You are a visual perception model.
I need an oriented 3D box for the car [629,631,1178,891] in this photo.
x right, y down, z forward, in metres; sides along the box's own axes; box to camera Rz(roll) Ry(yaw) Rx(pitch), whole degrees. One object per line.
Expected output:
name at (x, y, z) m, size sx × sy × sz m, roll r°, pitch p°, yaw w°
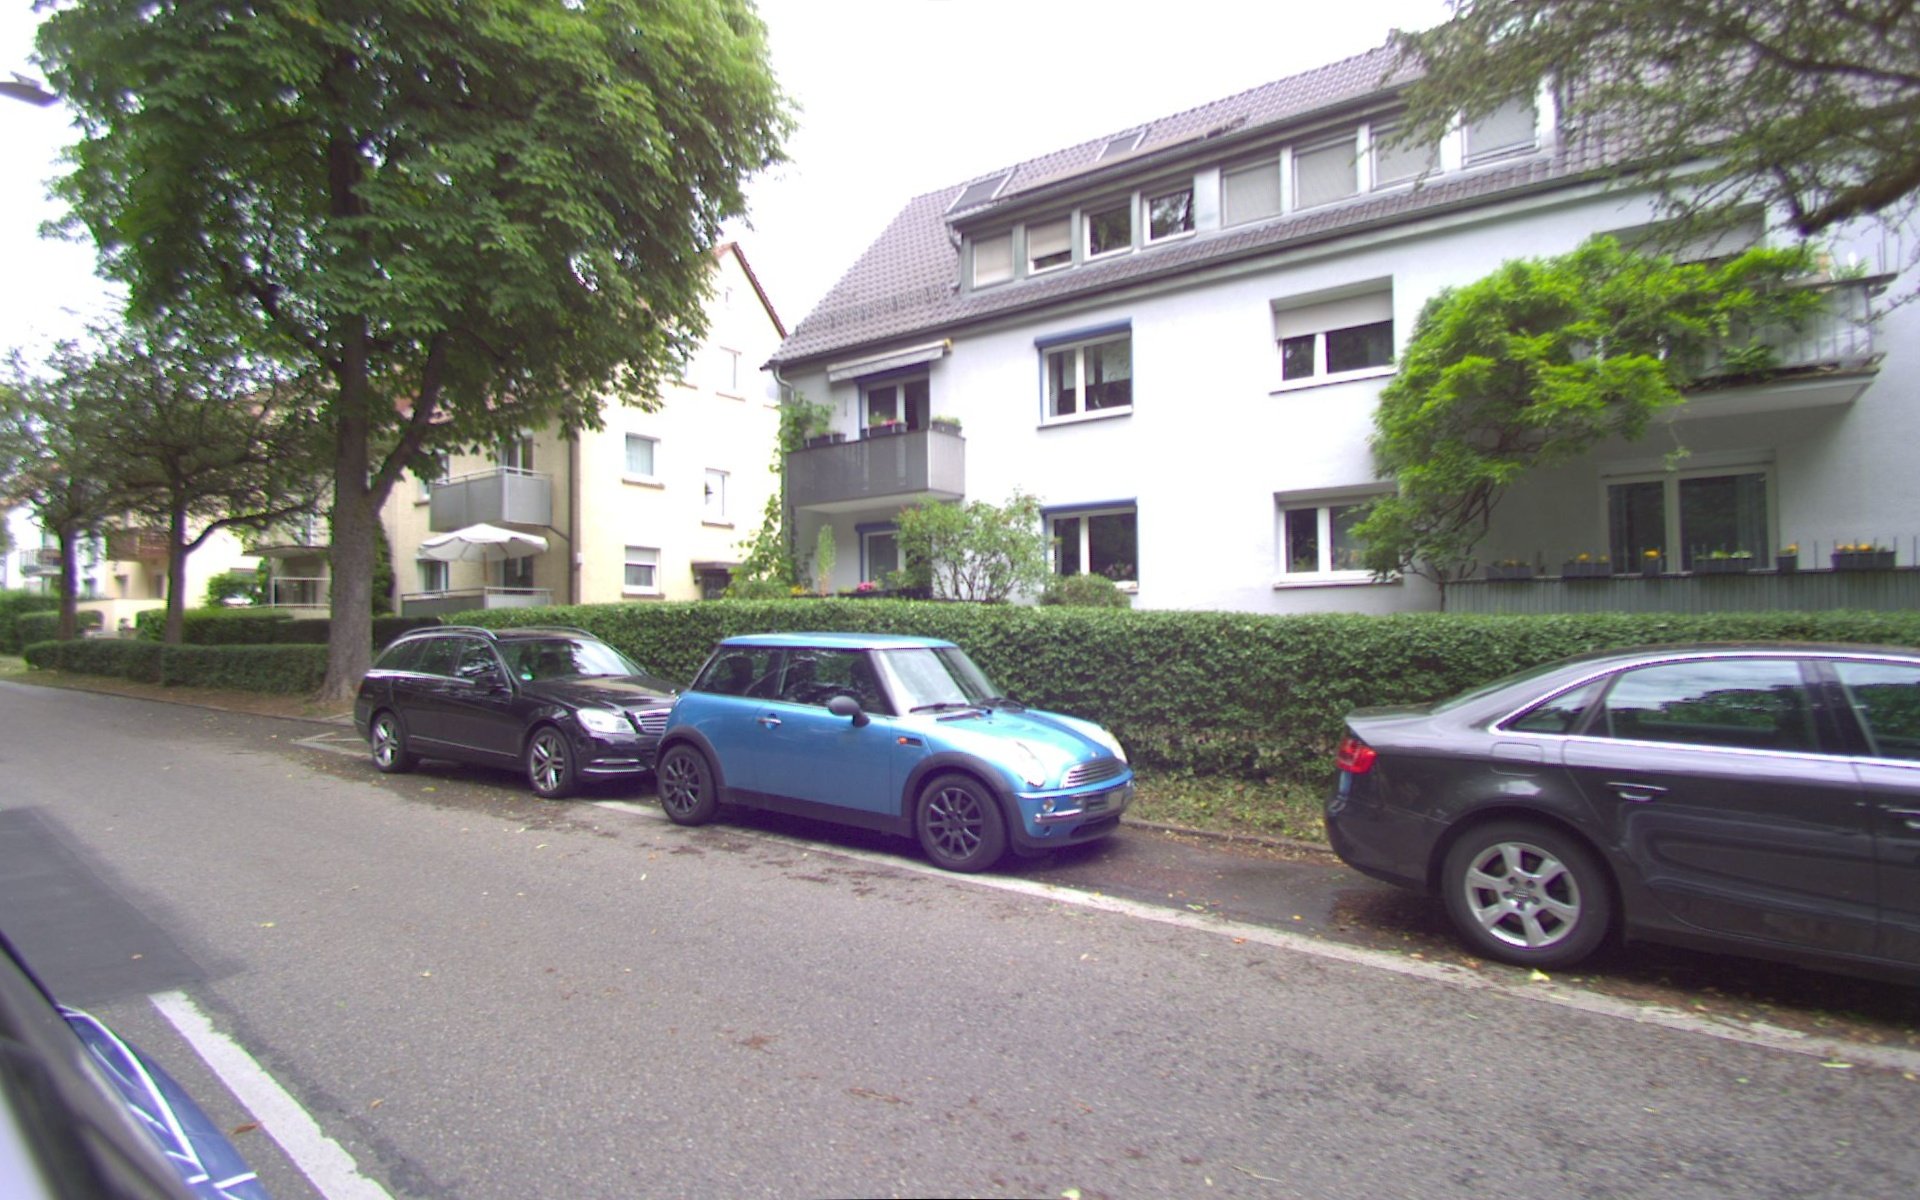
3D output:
car at (-0.496, 0.941, 7.247) m, size 3.697 × 1.402 × 1.650 m, roll -1°, pitch -3°, yaw 35°

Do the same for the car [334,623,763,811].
car at (-4.160, 0.998, 9.983) m, size 4.407 × 1.483 × 1.779 m, roll -1°, pitch -3°, yaw 34°

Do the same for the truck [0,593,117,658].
truck at (-46.339, 1.298, 50.768) m, size 2.511 × 3.155 × 5.749 m, roll -1°, pitch -2°, yaw 33°

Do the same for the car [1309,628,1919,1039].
car at (4.030, 0.842, 4.106) m, size 4.638 × 1.421 × 1.777 m, roll -1°, pitch -3°, yaw 38°
